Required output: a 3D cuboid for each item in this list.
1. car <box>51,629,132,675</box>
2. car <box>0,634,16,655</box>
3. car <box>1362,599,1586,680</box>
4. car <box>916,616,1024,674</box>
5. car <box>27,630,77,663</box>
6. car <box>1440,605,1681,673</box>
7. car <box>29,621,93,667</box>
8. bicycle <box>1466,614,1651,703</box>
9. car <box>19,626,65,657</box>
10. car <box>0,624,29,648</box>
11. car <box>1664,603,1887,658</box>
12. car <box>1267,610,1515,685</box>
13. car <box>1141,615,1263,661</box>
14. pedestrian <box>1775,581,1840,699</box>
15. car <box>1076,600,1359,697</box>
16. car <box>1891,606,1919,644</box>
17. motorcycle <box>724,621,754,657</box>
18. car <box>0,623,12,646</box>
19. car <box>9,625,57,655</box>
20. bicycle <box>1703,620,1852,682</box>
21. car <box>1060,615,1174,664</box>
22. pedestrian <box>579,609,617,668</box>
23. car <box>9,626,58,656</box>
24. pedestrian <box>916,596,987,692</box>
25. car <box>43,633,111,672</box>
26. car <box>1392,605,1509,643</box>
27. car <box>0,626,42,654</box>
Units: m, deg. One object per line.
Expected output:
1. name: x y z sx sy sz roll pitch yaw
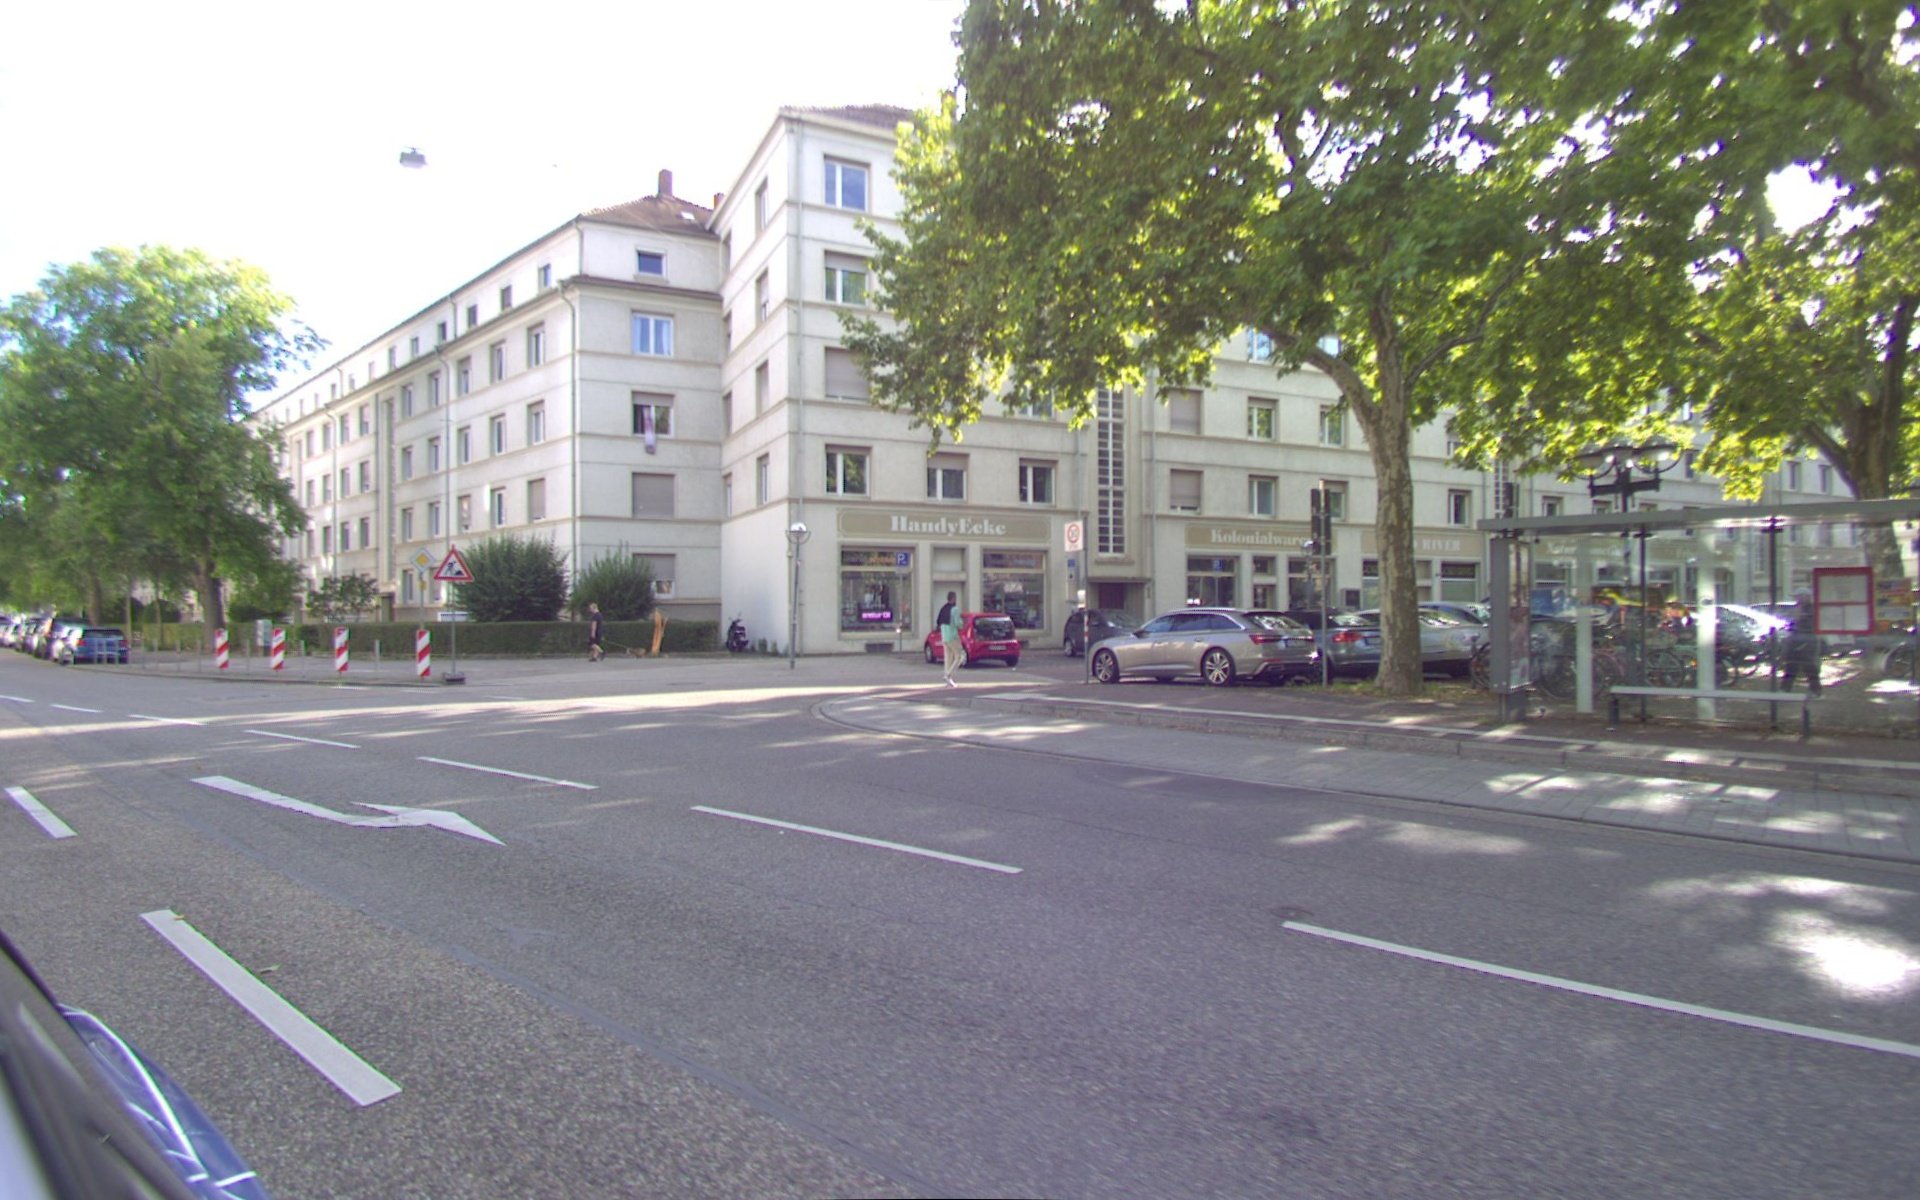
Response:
1. car: -32.082 1.896 37.356 3.802 1.632 1.780 -2 -3 42
2. car: -70.674 3.237 74.467 1.665 1.492 4.456 5 -4 -43
3. car: 11.356 0.843 22.692 1.654 1.629 4.290 0 -1 -28
4. car: 0.202 1.227 28.525 1.568 1.489 3.718 -1 -1 -25
5. car: -43.112 2.176 48.024 1.674 1.504 4.337 2 -3 -43
6. car: 13.515 0.839 23.089 1.828 1.388 4.401 0 -1 -28
7. car: -39.465 1.905 44.383 4.192 1.897 1.704 -2 -3 44
8. bicycle: 9.433 0.875 16.052 1.370 1.218 2.110 0 1 -26
9. car: -46.302 2.089 51.044 1.535 1.532 3.018 3 -4 -45
10. car: -62.737 2.363 66.807 4.014 1.479 1.596 -2 -2 44
11. car: 22.342 0.812 27.928 1.828 1.388 4.401 0 -1 -28
12. car: 8.889 0.945 21.378 1.643 1.388 4.853 0 -1 -28
13. car: 7.364 1.132 31.070 1.623 1.314 3.570 0 -1 -30
14. pedestrian: 12.807 0.597 15.302 0.706 1.728 0.495 -2 -2 42
15. car: 4.709 0.852 19.309 2.204 1.597 4.986 0 -1 -35
16. car: 36.243 0.871 35.867 1.828 1.388 4.401 0 -1 -28
17. motorcycle: -7.440 1.294 34.044 0.537 1.172 1.882 0 -1 -26
18. car: -78.030 2.790 81.676 4.970 1.807 1.856 -2 -3 43
19. car: -52.931 2.274 57.747 4.484 1.681 1.778 -2 -4 45
20. bicycle: 15.509 0.941 19.272 0.690 1.090 2.101 0 -1 -26
21. car: 4.693 1.169 30.792 1.568 1.377 3.718 -1 -1 -26
22. pedestrian: -10.052 1.063 28.080 0.732 1.590 0.724 -2 -1 40
23. car: -49.169 2.159 53.669 3.849 1.498 1.680 -2 -4 45
24. pedestrian: -0.153 0.815 19.274 0.914 1.767 1.068 -2 0 27
25. car: -35.477 2.083 40.634 3.805 1.505 1.778 -2 -4 45
26. car: 18.129 0.876 37.536 1.623 1.314 3.570 0 -1 -30
27. car: -59.442 2.500 63.956 3.994 1.632 1.720 -2 -1 43
